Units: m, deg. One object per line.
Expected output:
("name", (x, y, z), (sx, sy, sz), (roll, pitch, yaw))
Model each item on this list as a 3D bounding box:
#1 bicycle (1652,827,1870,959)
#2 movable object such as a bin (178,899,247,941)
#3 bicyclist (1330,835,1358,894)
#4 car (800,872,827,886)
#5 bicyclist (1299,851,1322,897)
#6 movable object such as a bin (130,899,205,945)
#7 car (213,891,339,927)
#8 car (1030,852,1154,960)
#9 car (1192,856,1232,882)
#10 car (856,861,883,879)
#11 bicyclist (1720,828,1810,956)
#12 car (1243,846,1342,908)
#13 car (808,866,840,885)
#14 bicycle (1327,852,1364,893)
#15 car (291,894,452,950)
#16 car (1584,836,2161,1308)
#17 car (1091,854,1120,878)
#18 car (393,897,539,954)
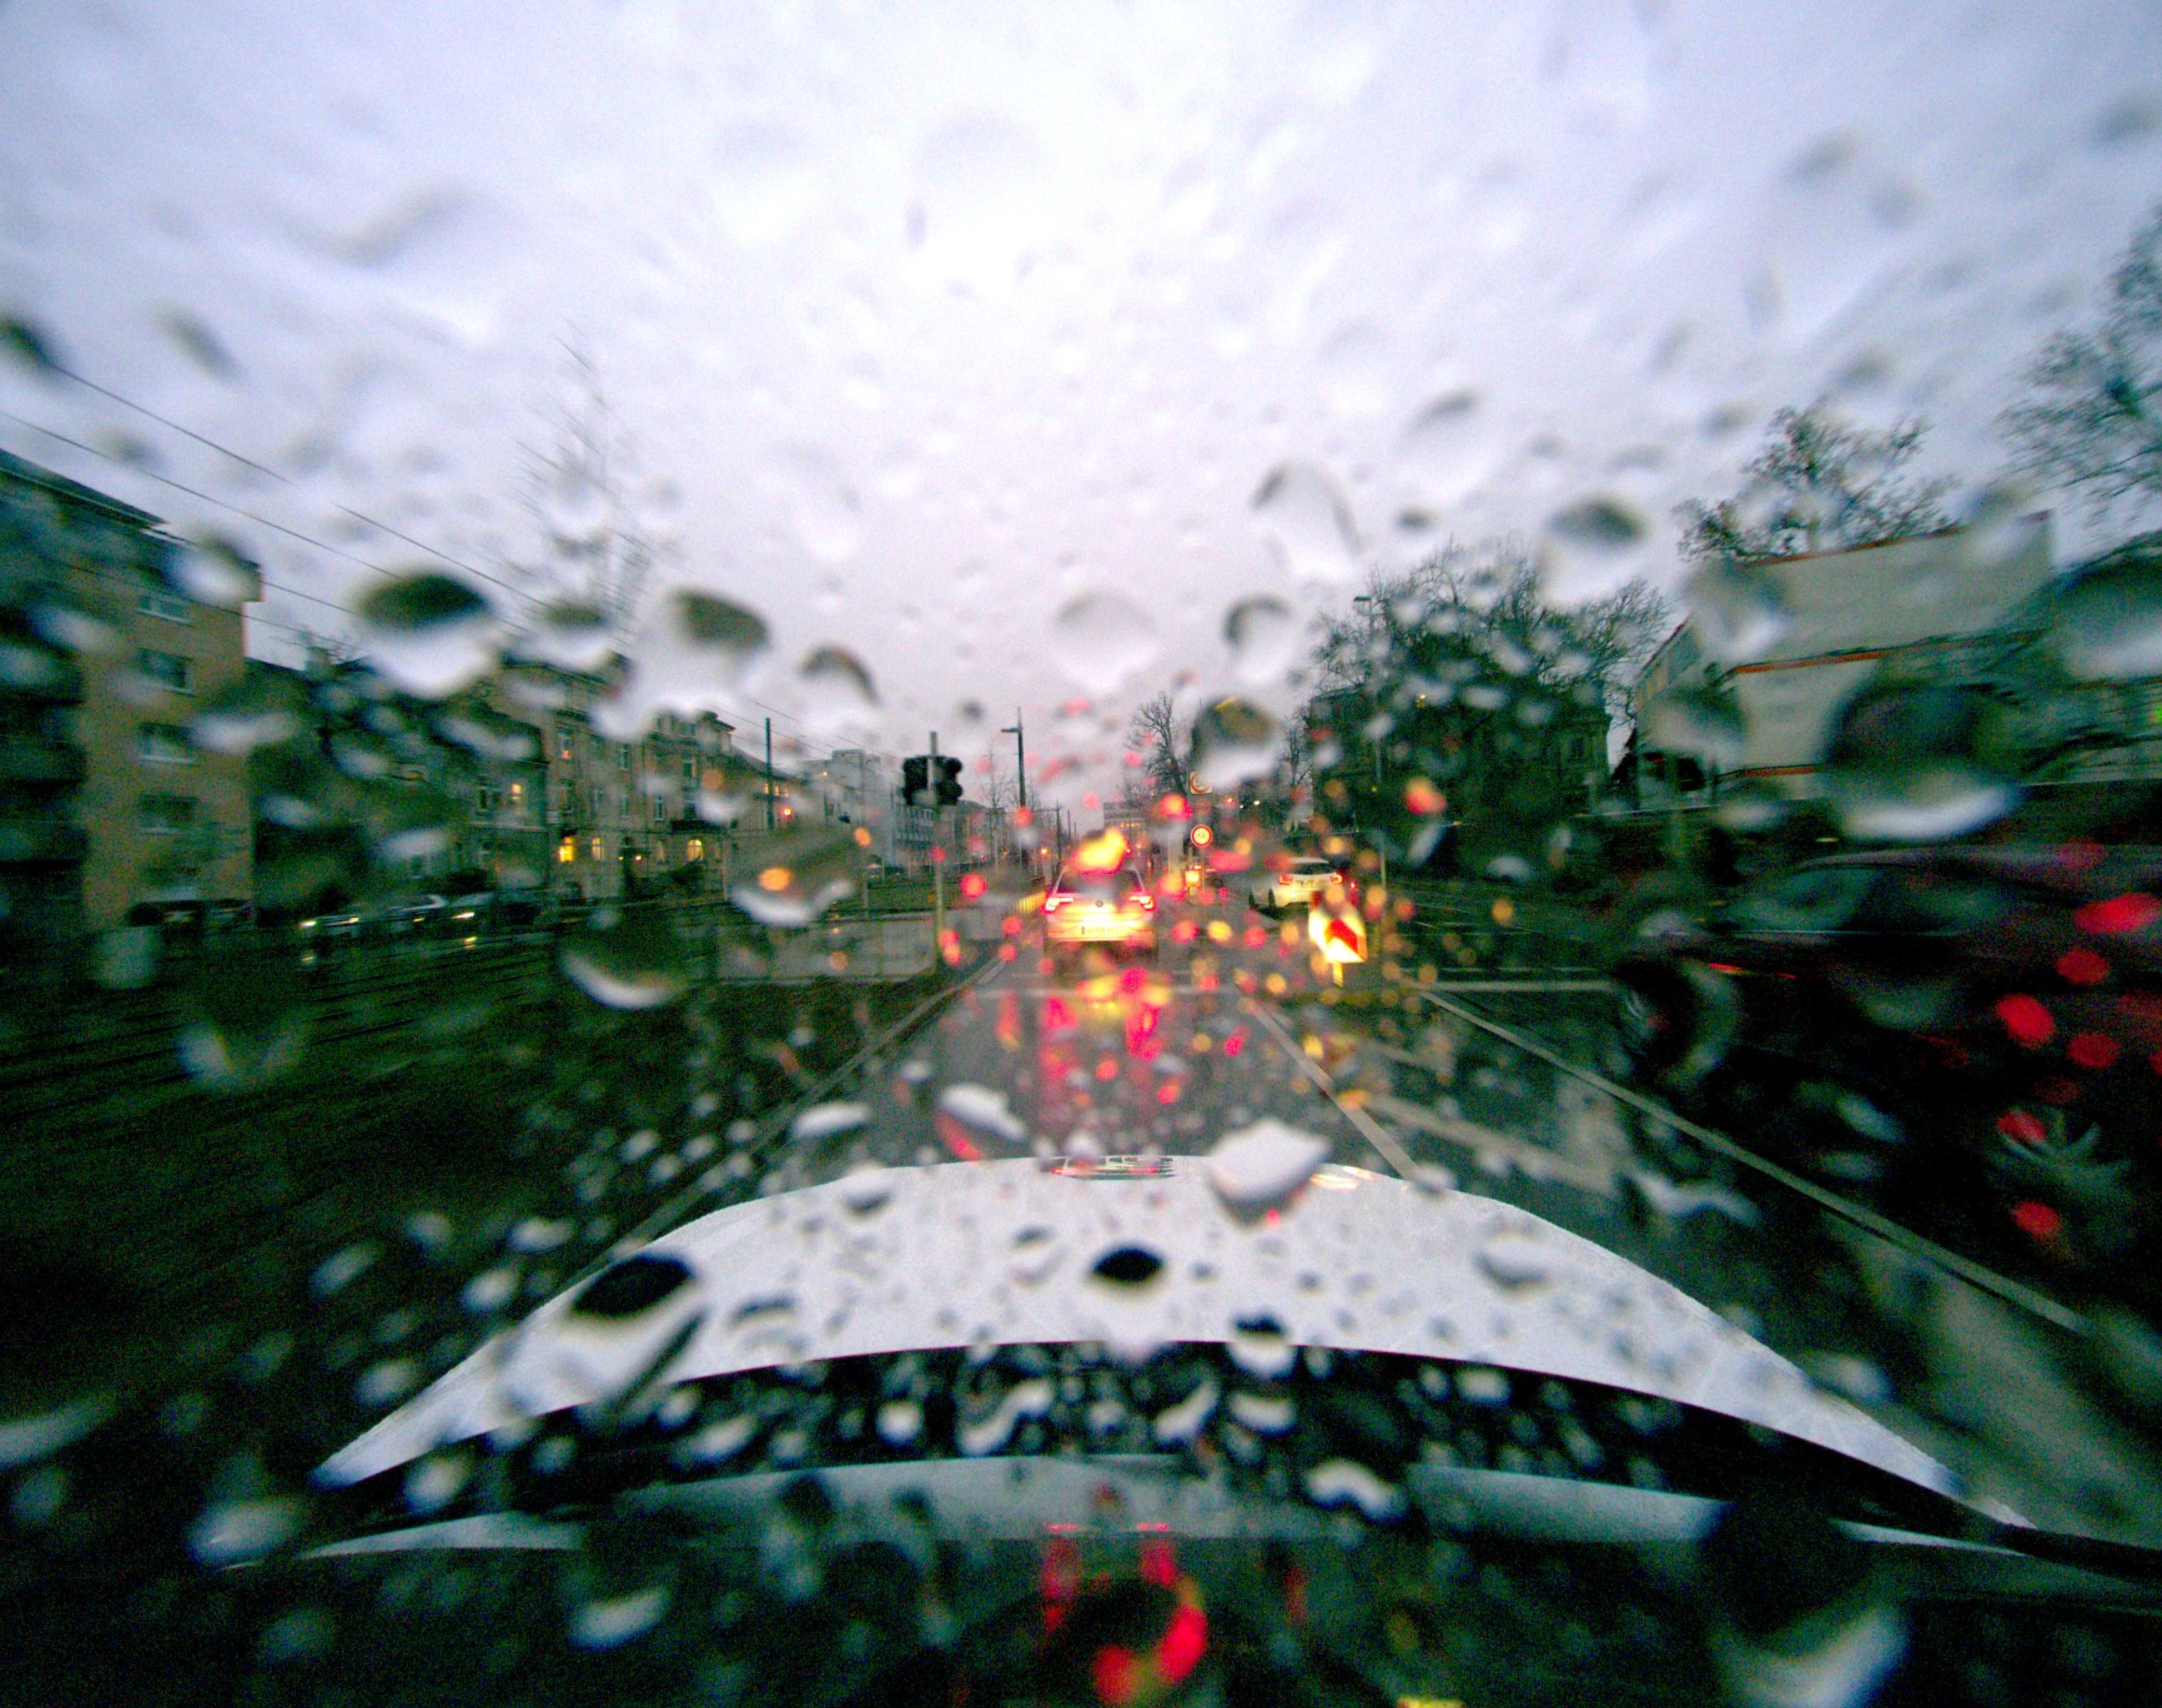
("bicycle", (9.315, 0.502, 11.250), (0.694, 1.657, 2.220), (1, -1, -43))
("movable object such as a bin", (-34.099, 2.585, 31.986), (1.105, 1.480, 1.424), (-3, 0, -2))
("bicyclist", (8.062, 0.311, 25.009), (0.498, 1.767, 0.837), (-2, 0, -1))
("car", (-30.674, 2.847, 93.425), (1.801, 1.436, 3.925), (-3, 0, -1))
("bicyclist", (8.182, 0.706, 29.094), (0.498, 1.591, 0.837), (-2, 0, -1))
("movable object such as a bin", (-34.079, 2.522, 30.402), (1.105, 1.561, 1.424), (-3, 0, -2))
("car", (-37.446, 2.554, 37.956), (3.975, 1.406, 1.833), (-2, 0, -1))
("car", (0.229, 0.767, 13.344), (1.715, 1.479, 4.002), (-1, -1, 2))
("car", (6.841, 0.765, 42.960), (1.617, 1.299, 4.002), (-1, -1, 2))
("car", (-25.976, 1.938, 100.156), (1.988, 1.933, 4.909), (-3, 0, -1))
("bicyclist", (9.393, 0.499, 11.186), (0.701, 1.679, 0.808), (-2, -1, -43))
("car", (5.459, 0.572, 21.476), (1.715, 1.479, 4.002), (-1, -1, 2))
("car", (-26.378, 2.182, 83.670), (1.988, 1.692, 4.109), (-3, 0, -1))
("bicycle", (8.078, 0.555, 24.958), (0.410, 1.185, 2.028), (-2, 0, -1))
("car", (-23.340, 2.188, 27.022), (1.795, 1.585, 4.000), (0, -1, 0))
("car", (4.454, 0.697, 4.146), (1.713, 1.479, 4.008), (-1, -1, 7))
("car", (1.558, 0.748, 51.001), (1.715, 1.479, 4.002), (-1, -1, 2))
("car", (-20.389, 2.336, 27.238), (1.795, 1.585, 4.000), (0, -1, 0))
